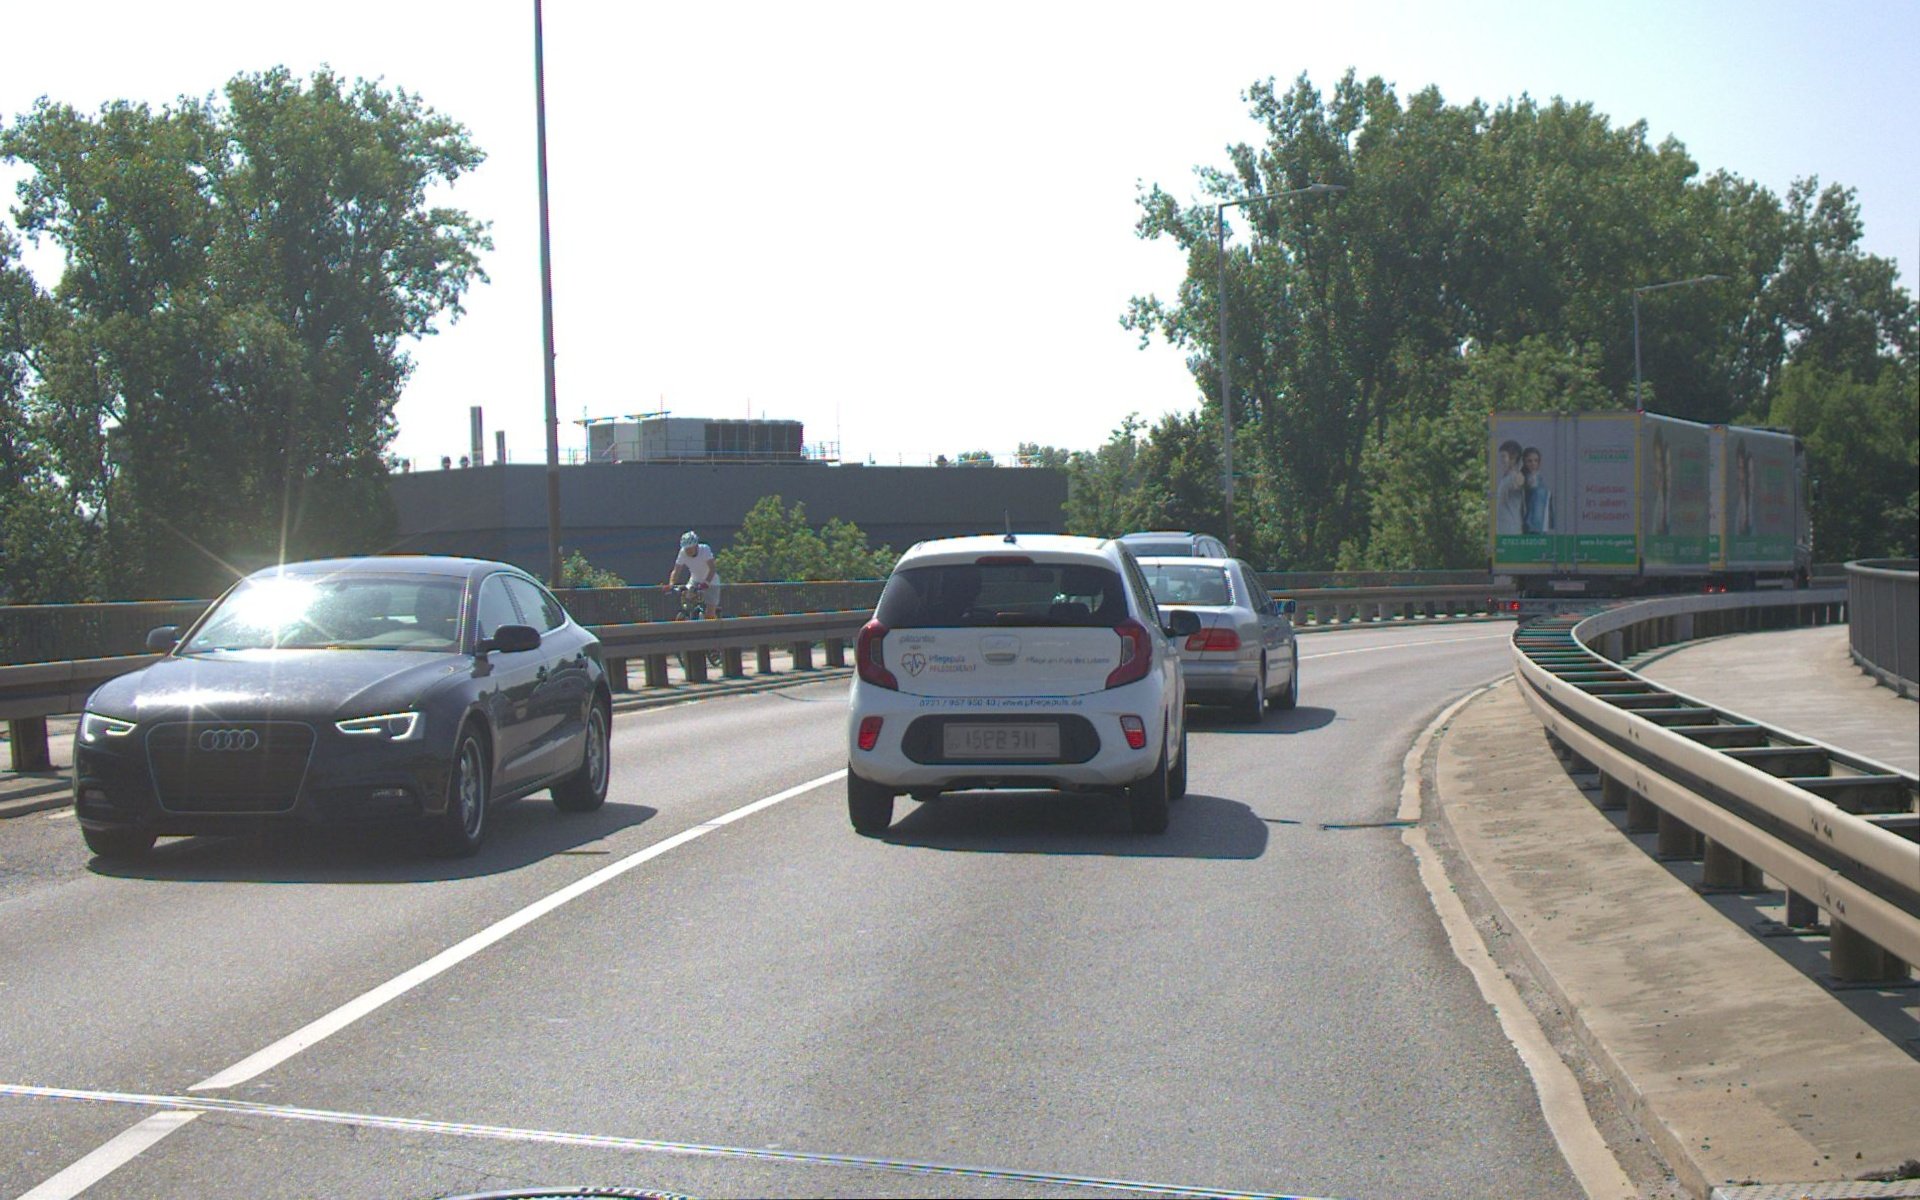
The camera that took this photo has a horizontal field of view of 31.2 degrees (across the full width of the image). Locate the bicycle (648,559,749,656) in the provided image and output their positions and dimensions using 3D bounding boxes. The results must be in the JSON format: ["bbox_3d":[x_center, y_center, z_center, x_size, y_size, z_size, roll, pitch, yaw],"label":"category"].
[{"bbox_3d":[-3.215,0.090,42.519,0.612,1.131,2.148,-3,-1,12],"label":"bicycle"}]

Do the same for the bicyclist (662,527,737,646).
[{"bbox_3d":[-3.221,-0.166,42.559,0.608,1.434,1.077,-2,-1,12],"label":"bicyclist"}]

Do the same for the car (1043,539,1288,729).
[{"bbox_3d":[1.827,0.228,29.929,1.939,1.481,4.899,1,1,4],"label":"car"}]

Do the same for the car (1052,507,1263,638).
[{"bbox_3d":[2.761,-0.366,47.093,1.859,1.676,4.469,1,0,17],"label":"car"}]

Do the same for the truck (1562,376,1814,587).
[{"bbox_3d":[14.140,-2.310,66.208,3.264,3.745,8.362,2,3,22],"label":"truck"}]

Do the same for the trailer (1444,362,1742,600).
[{"bbox_3d":[10.973,-2.057,58.952,3.228,3.745,7.815,2,3,24],"label":"trailer"}]

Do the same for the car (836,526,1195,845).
[{"bbox_3d":[0.357,0.371,18.616,1.702,1.489,4.000,1,1,3],"label":"car"}]

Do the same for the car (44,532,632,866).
[{"bbox_3d":[-2.955,0.427,17.289,1.739,1.452,4.298,0,0,6],"label":"car"}]
